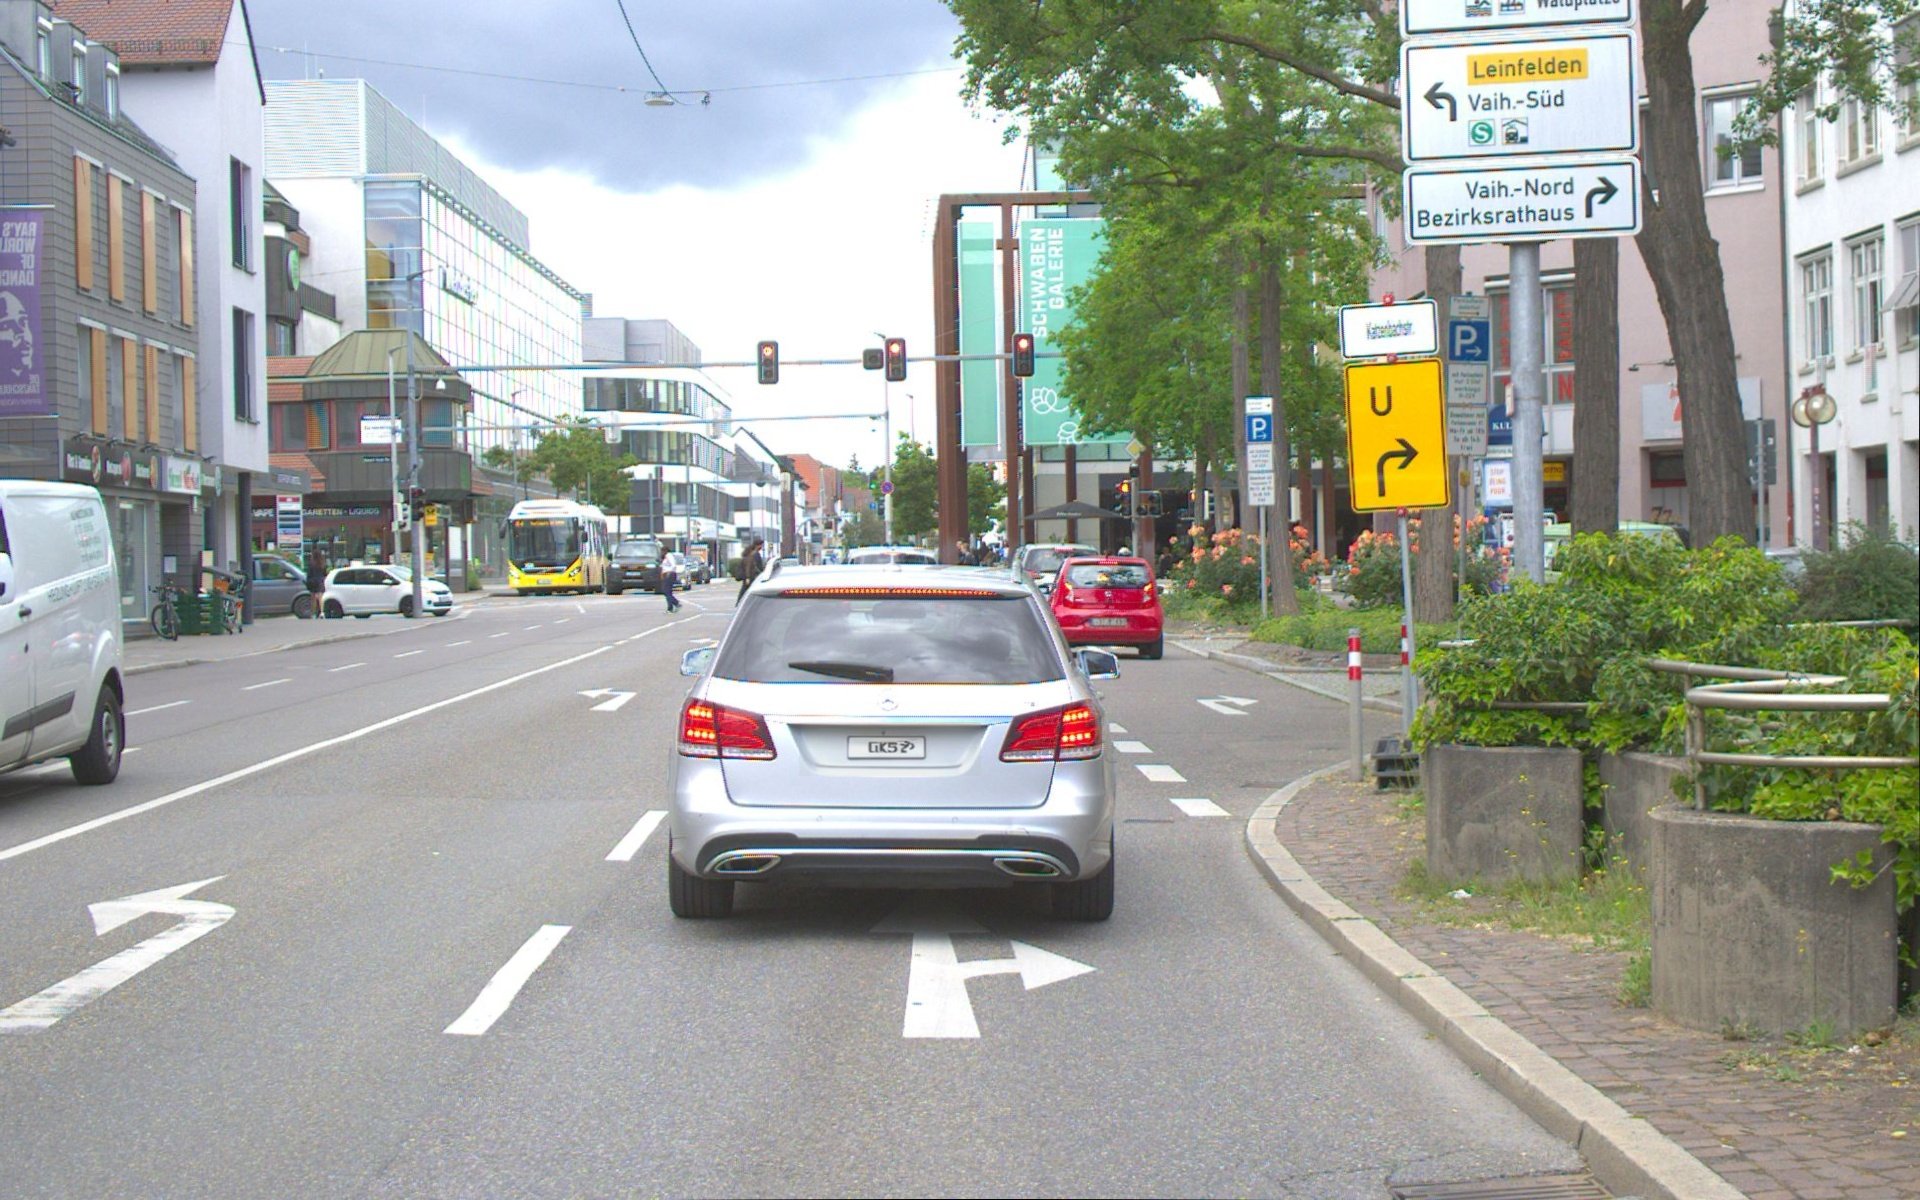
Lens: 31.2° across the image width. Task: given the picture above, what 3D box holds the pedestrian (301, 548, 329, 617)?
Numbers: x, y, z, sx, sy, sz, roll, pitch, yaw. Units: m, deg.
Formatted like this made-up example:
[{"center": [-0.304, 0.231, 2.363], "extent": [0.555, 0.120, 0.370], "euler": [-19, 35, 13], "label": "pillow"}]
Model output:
[{"center": [-15.867, -0.438, 84.590], "extent": [0.586, 1.664, 0.642], "euler": [2, 1, -14], "label": "pedestrian"}]

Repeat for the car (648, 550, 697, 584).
[{"center": [-10.955, -1.274, 131.067], "extent": [1.575, 1.240, 3.607], "euler": [-1, 1, 0], "label": "car"}]

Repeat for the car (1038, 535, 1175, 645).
[{"center": [2.113, -0.154, 50.584], "extent": [1.754, 1.515, 4.000], "euler": [1, 0, -1], "label": "car"}]

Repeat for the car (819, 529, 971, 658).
[{"center": [-0.883, -0.117, 47.655], "extent": [1.993, 1.678, 4.000], "euler": [-1, 1, -1], "label": "car"}]

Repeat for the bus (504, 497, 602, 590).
[{"center": [-14.294, -1.983, 121.135], "extent": [2.775, 3.154, 5.933], "euler": [-1, 1, -1], "label": "bus"}]

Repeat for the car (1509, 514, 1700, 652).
[{"center": [9.153, -0.264, 49.106], "extent": [1.866, 1.858, 4.000], "euler": [-1, 1, -1], "label": "car"}]

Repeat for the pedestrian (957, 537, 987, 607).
[{"center": [0.285, -0.667, 81.137], "extent": [0.613, 1.629, 0.588], "euler": [2, 1, -4], "label": "pedestrian"}]

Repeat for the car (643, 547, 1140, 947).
[{"center": [-0.359, 0.534, 15.059], "extent": [1.874, 1.501, 4.000], "euler": [-1, 1, -3], "label": "car"}]

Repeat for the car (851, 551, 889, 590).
[{"center": [-4.781, -1.581, 182.598], "extent": [1.993, 2.007, 4.000], "euler": [-1, 1, -1], "label": "car"}]

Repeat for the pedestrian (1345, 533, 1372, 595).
[{"center": [10.640, -0.967, 91.770], "extent": [0.613, 1.629, 0.587], "euler": [2, 1, 12], "label": "pedestrian"}]

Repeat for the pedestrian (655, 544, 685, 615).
[{"center": [-6.780, -0.481, 80.385], "extent": [0.613, 1.629, 0.588], "euler": [2, 1, -10], "label": "pedestrian"}]

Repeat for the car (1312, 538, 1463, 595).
[{"center": [12.148, -0.947, 97.843], "extent": [4.100, 1.536, 1.580], "euler": [-1, 1, 0], "label": "car"}]

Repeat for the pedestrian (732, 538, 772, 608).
[{"center": [-4.977, -0.652, 82.359], "extent": [0.857, 1.629, 0.588], "euler": [2, 1, 1], "label": "pedestrian"}]

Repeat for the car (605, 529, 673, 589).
[{"center": [-11.184, -1.434, 120.028], "extent": [1.993, 2.007, 4.000], "euler": [-1, 1, 0], "label": "car"}]

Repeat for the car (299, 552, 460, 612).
[{"center": [-15.603, -0.476, 92.353], "extent": [3.992, 1.525, 1.664], "euler": [-1, 1, 24], "label": "car"}]

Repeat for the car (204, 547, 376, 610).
[{"center": [-19.846, -0.645, 101.809], "extent": [4.906, 1.817, 2.001], "euler": [-1, 1, -13], "label": "car"}]

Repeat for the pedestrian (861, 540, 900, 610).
[{"center": [-1.904, -0.601, 82.176], "extent": [0.833, 1.629, 0.588], "euler": [2, 1, -4], "label": "pedestrian"}]

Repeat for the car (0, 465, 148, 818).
[{"center": [-6.353, 0.251, 20.298], "extent": [1.961, 1.954, 5.140], "euler": [-3, 1, -2], "label": "car"}]

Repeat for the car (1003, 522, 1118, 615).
[{"center": [1.882, -0.606, 65.430], "extent": [1.993, 1.678, 4.000], "euler": [-1, 1, -1], "label": "car"}]
